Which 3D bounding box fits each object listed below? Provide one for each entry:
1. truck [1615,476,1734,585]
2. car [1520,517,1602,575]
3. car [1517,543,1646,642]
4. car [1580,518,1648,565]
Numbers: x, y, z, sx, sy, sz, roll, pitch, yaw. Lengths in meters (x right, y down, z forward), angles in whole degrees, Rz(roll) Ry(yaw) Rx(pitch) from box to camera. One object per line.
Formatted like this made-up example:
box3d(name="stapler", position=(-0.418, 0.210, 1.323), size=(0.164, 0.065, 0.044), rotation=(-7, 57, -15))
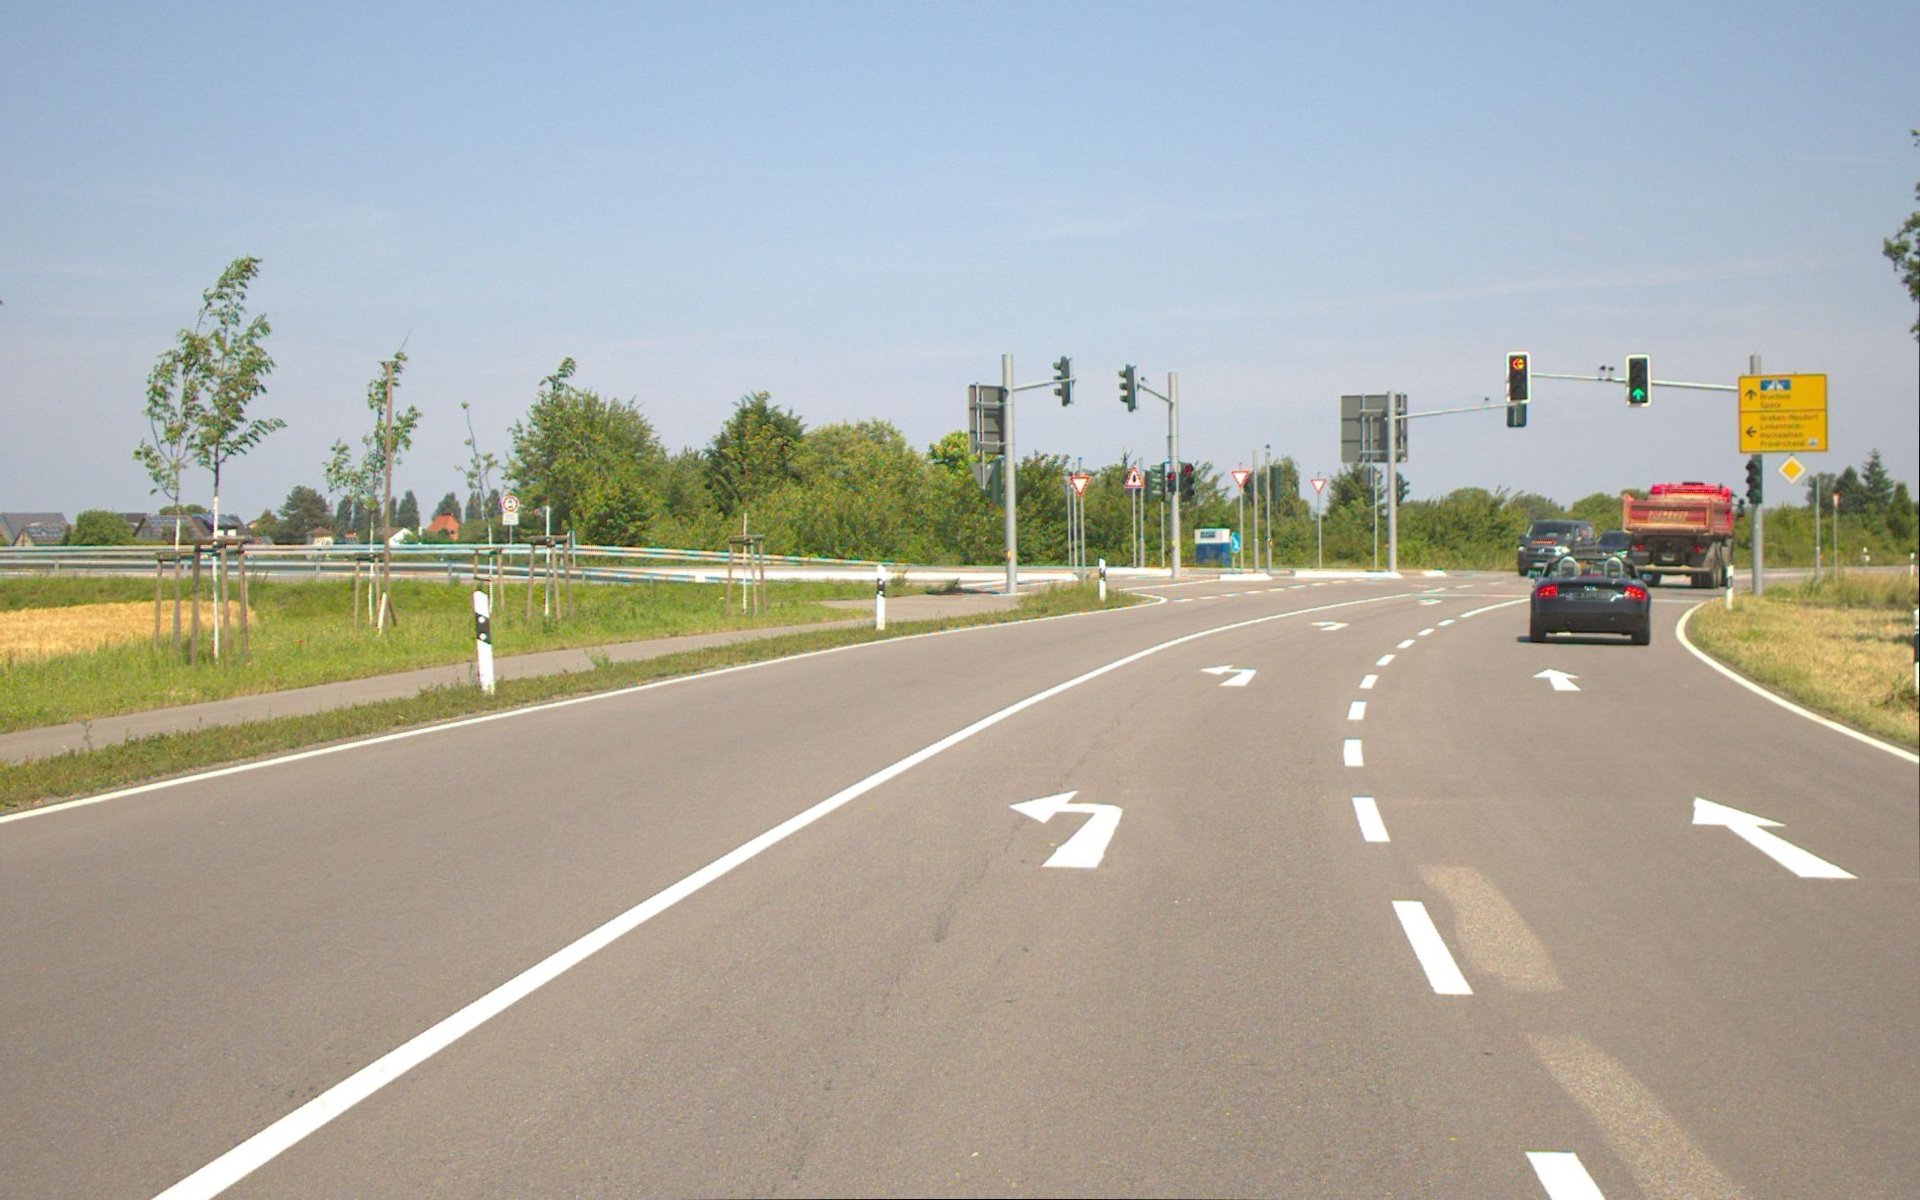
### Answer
box3d(name="truck", position=(21.072, -1.980, 101.097), size=(2.716, 3.042, 8.158), rotation=(1, 0, 17))
box3d(name="car", position=(20.855, -1.880, 119.228), size=(1.932, 1.971, 4.679), rotation=(1, 1, 21))
box3d(name="car", position=(9.244, -0.101, 50.975), size=(1.748, 1.371, 3.677), rotation=(2, 0, 12))
box3d(name="car", position=(24.595, -2.204, 129.163), size=(1.932, 1.733, 4.885), rotation=(1, 1, 18))
